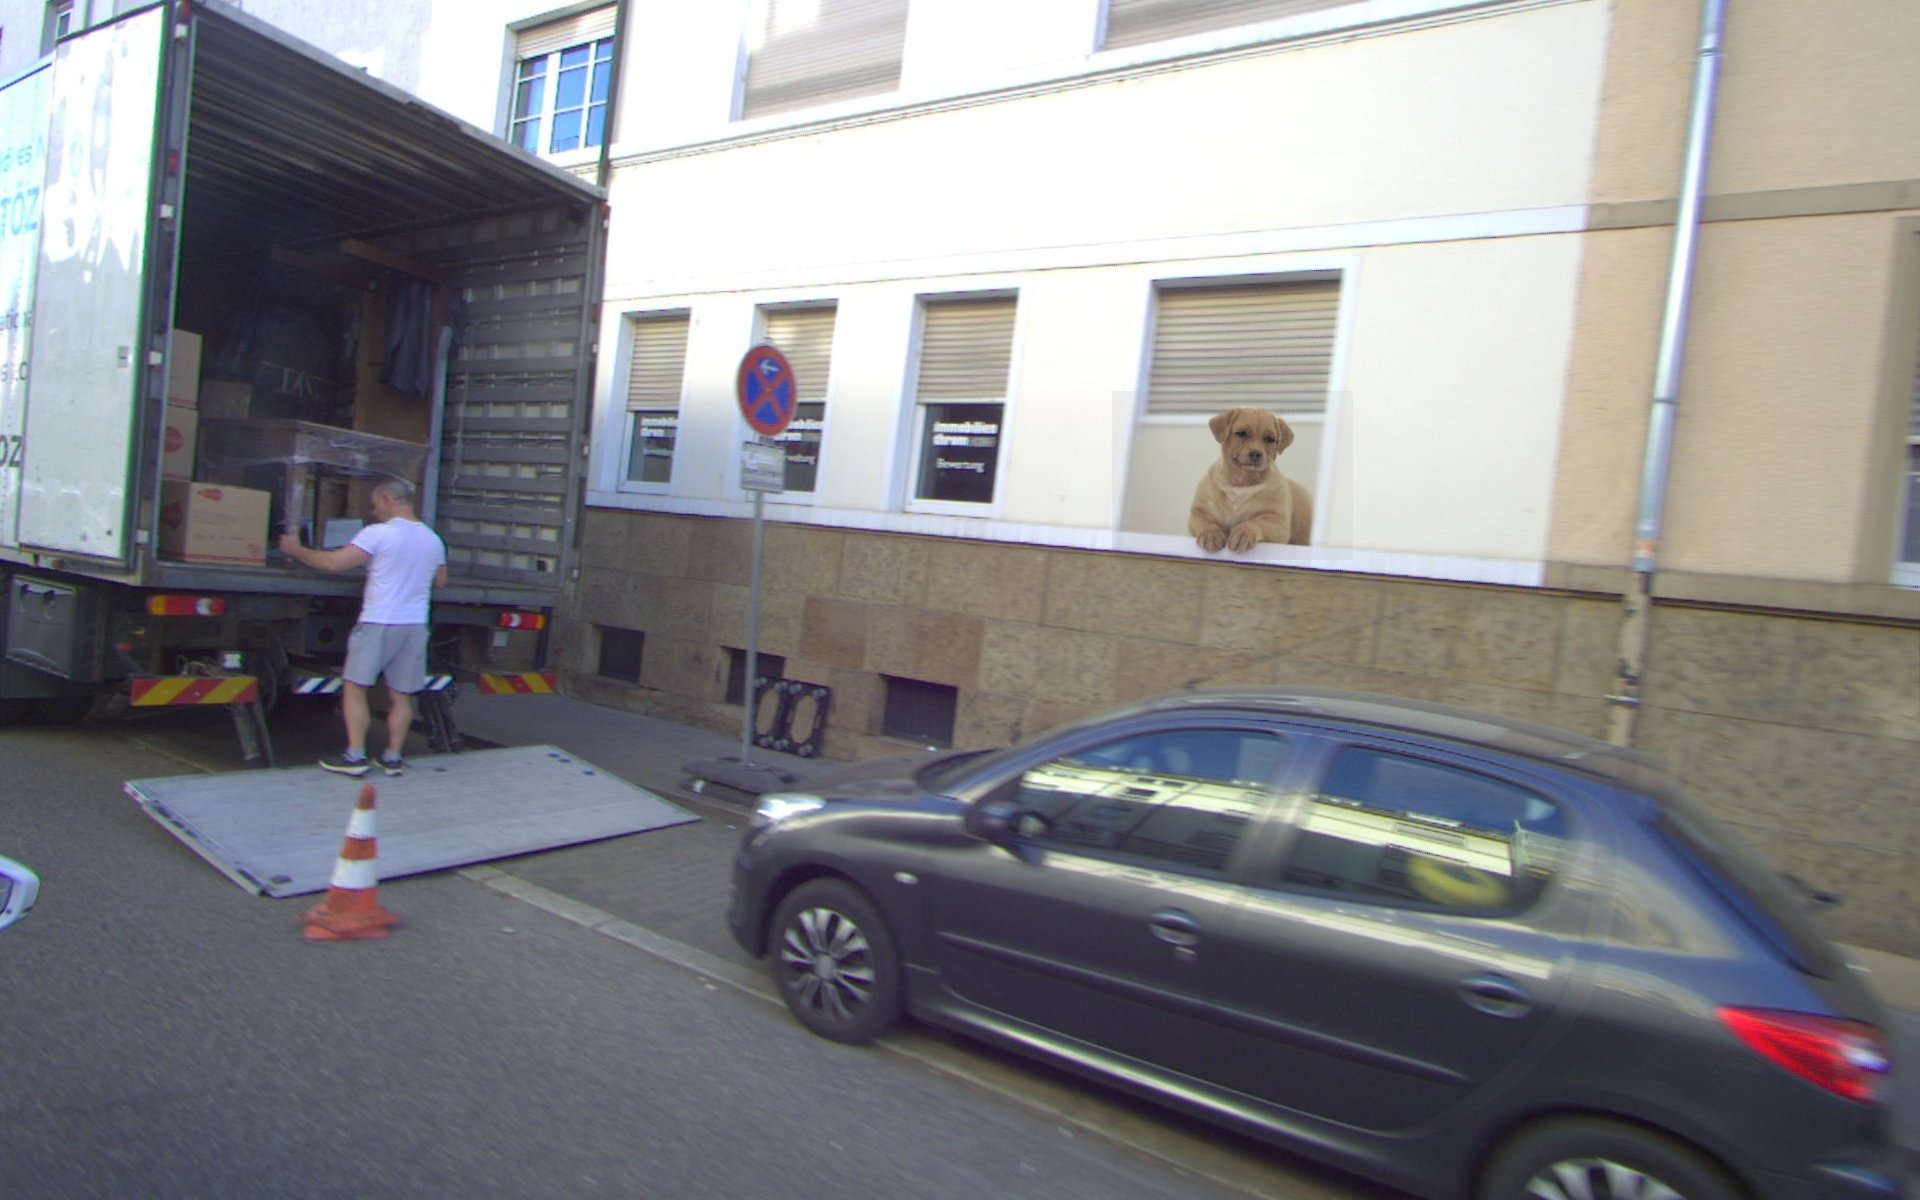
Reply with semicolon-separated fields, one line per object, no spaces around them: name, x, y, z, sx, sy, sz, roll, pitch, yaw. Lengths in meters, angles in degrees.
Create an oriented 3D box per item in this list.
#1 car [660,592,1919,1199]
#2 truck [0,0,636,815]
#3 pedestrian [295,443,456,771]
car;0.922;0.949;3.632;3.815;1.482;1.584;7;1;31
truck;-8.123;-1.539;8.971;11.584;4.124;2.863;7;1;32
pedestrian;-3.373;0.043;5.818;0.409;1.797;0.513;7;1;32
